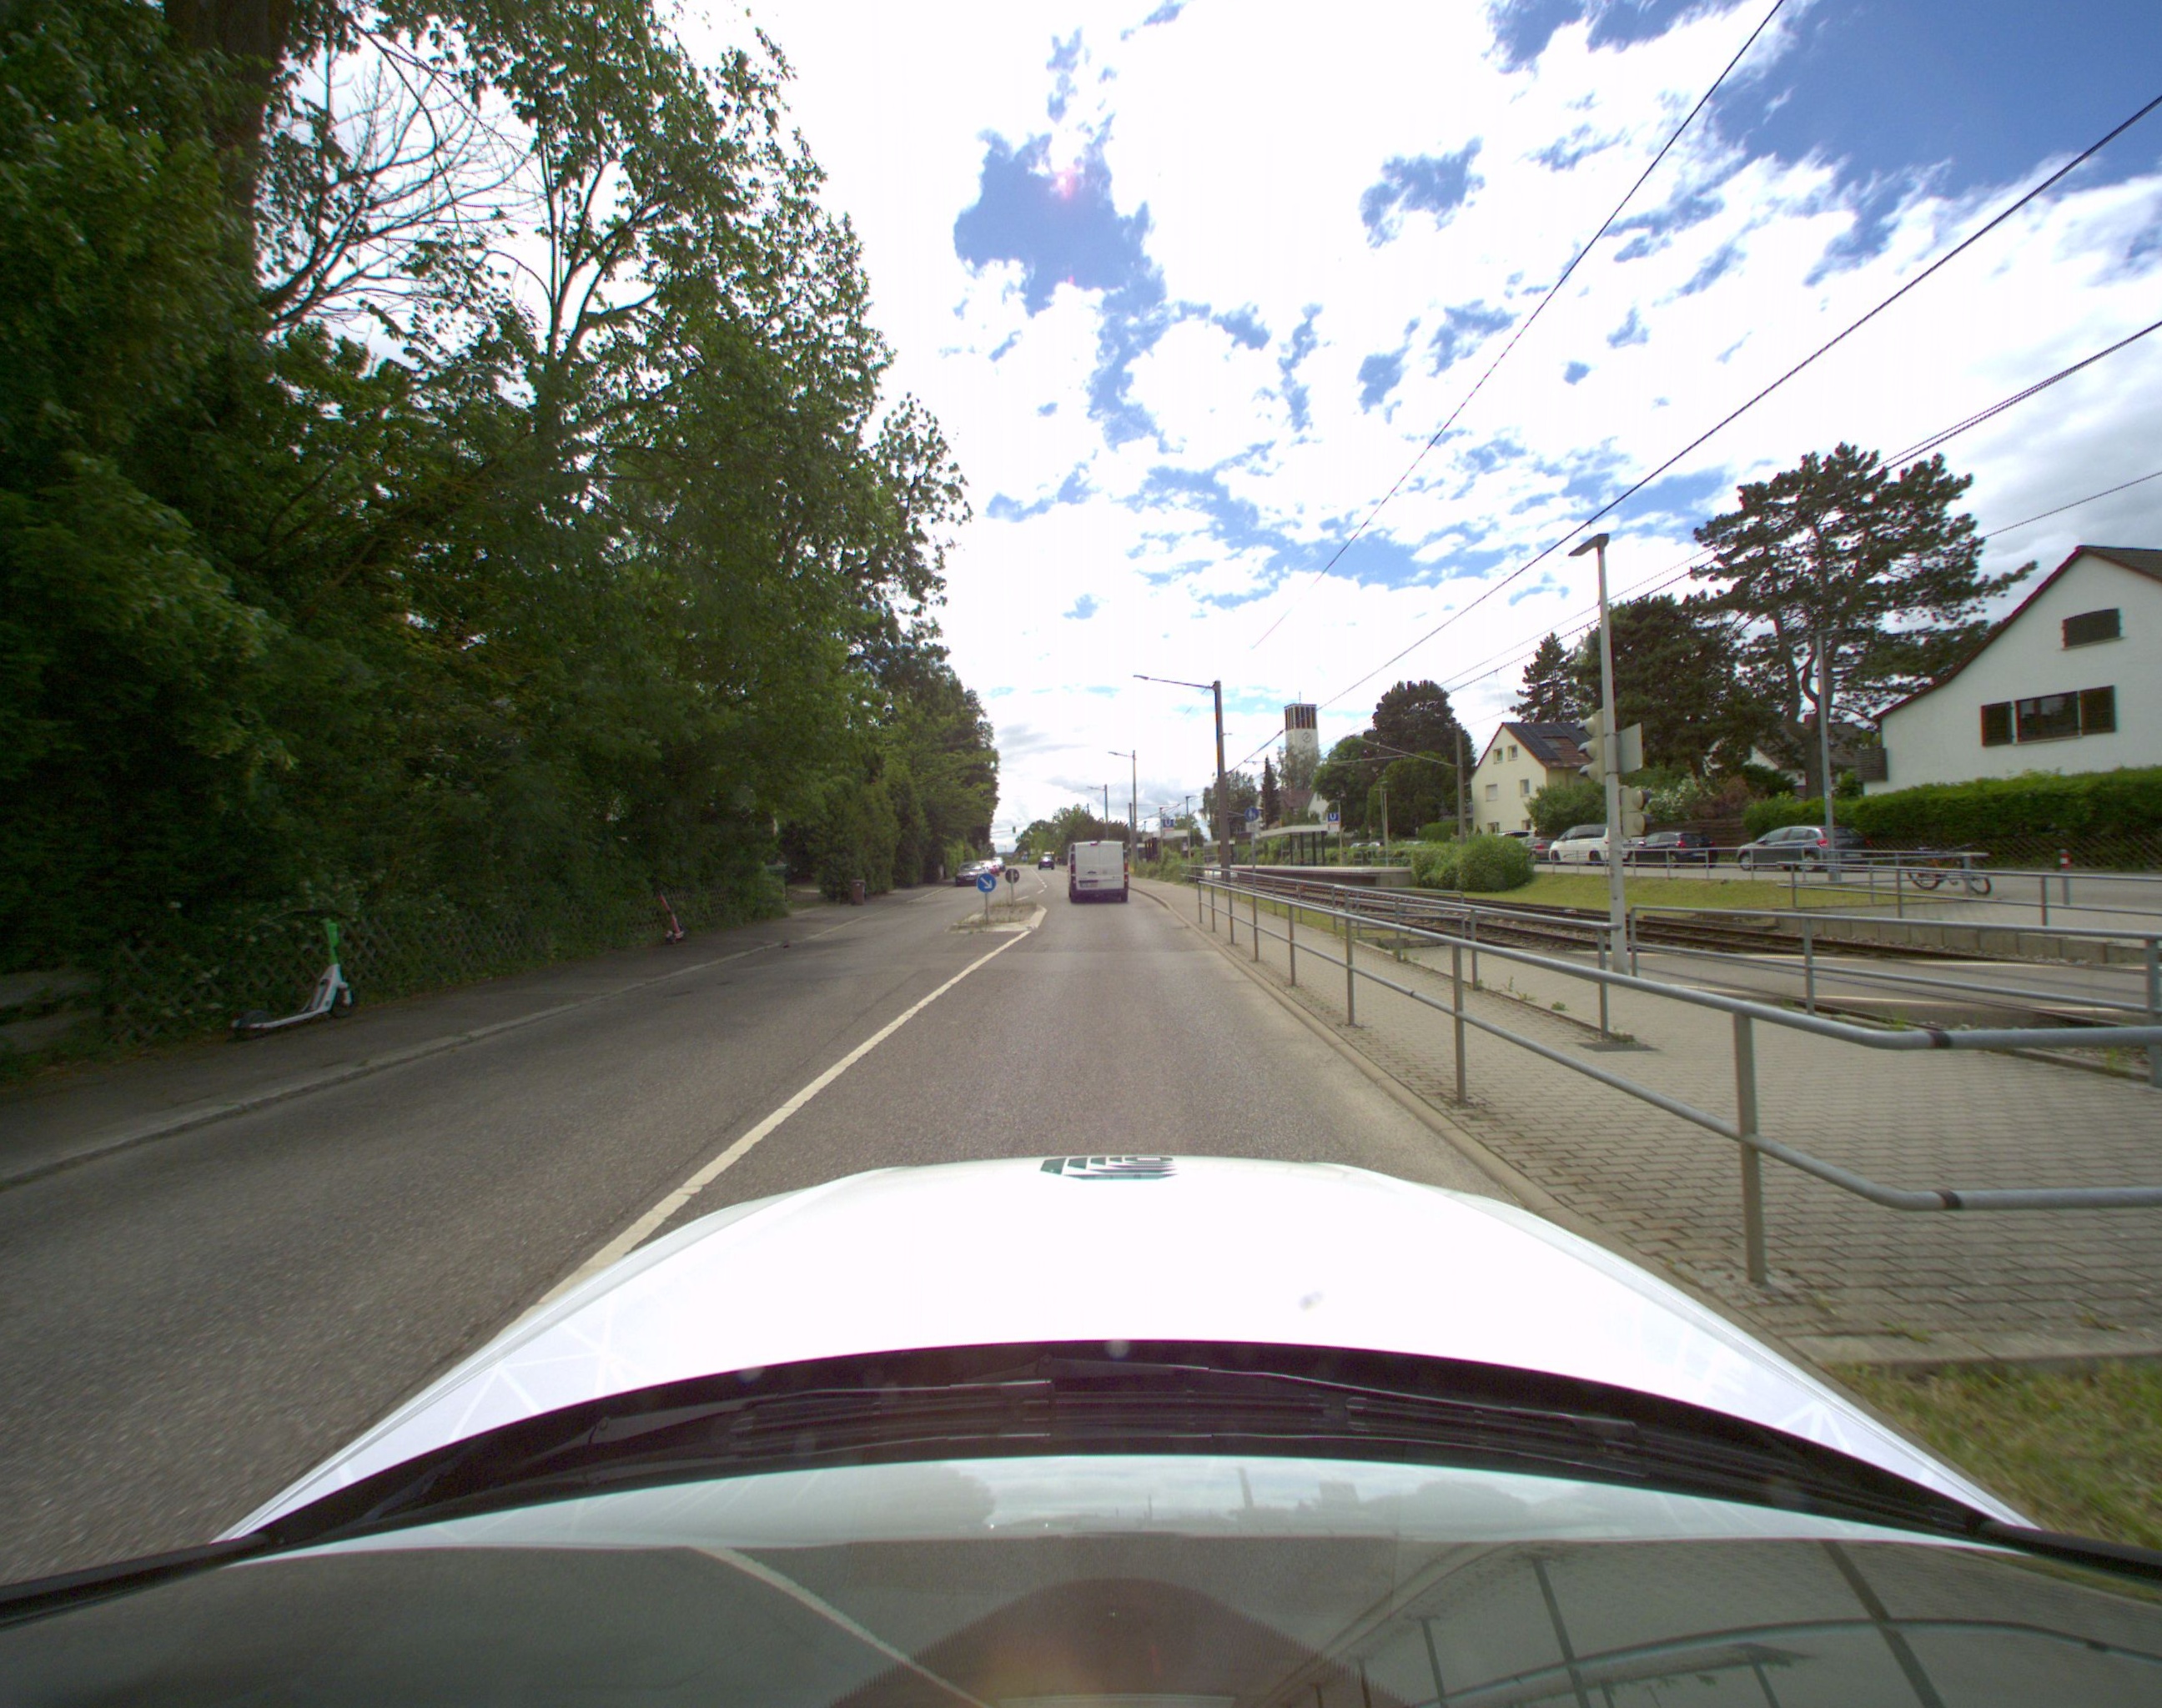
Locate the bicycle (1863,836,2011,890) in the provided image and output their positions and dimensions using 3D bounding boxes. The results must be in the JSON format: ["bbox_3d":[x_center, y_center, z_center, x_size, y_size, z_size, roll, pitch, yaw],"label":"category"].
[{"bbox_3d":[18.167,0.180,17.391,0.536,1.045,2.541,-2,0,2],"label":"bicycle"}]

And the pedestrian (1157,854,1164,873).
[{"bbox_3d":[5.677,0.673,58.354,0.395,1.344,0.486,-1,0,-9],"label":"pedestrian"}]

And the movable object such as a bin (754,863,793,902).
[{"bbox_3d":[-11.627,1.077,30.815,1.276,1.401,0.893,-2,-1,-17],"label":"movable object such as a bin"}]

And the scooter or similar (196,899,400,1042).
[{"bbox_3d":[-7.794,1.105,8.214,0.407,1.199,1.640,-2,0,2],"label":"scooter or similar"}]

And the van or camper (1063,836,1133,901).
[{"bbox_3d":[0.473,0.477,27.516,1.990,2.014,4.439,0,-1,-4],"label":"van or camper"}]

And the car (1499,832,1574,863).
[{"bbox_3d":[24.322,-0.341,43.643,1.876,1.522,4.002,-2,0,2],"label":"car"}]

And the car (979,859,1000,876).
[{"bbox_3d":[-8.383,1.200,74.516,1.759,1.471,4.177,-3,0,-6],"label":"car"}]

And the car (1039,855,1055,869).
[{"bbox_3d":[-4.225,1.044,102.103,1.847,1.648,3.731,-2,0,-2],"label":"car"}]

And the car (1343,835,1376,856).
[{"bbox_3d":[24.893,-0.752,72.955,1.725,1.751,3.937,-1,0,2],"label":"car"}]

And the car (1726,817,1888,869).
[{"bbox_3d":[23.862,-0.334,26.996,1.876,1.522,4.002,-2,0,2],"label":"car"}]

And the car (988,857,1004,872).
[{"bbox_3d":[-10.014,1.189,96.032,1.759,1.625,4.177,-3,0,-6],"label":"car"}]

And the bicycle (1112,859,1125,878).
[{"bbox_3d":[2.586,0.970,56.693,0.617,1.246,2.392,-1,0,-5],"label":"bicycle"}]

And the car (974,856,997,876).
[{"bbox_3d":[-7.888,0.998,67.179,1.585,1.505,3.510,-3,0,-3],"label":"car"}]

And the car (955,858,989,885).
[{"bbox_3d":[-6.589,1.030,49.516,1.734,1.505,4.469,-3,0,-5],"label":"car"}]

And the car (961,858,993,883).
[{"bbox_3d":[-6.999,1.067,54.991,1.733,1.505,3.958,-3,0,-3],"label":"car"}]

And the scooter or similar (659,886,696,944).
[{"bbox_3d":[-8.132,1.205,16.454,0.478,1.081,1.207,0,0,-18],"label":"scooter or similar"}]

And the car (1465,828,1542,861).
[{"bbox_3d":[29.072,-0.631,56.077,4.321,1.943,1.743,-4,0,-5],"label":"car"}]

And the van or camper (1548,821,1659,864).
[{"bbox_3d":[24.030,-0.494,37.741,1.899,1.826,5.047,-2,0,0],"label":"van or camper"}]

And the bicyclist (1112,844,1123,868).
[{"bbox_3d":[2.553,0.109,56.610,0.638,1.650,0.817,-1,0,-5],"label":"bicyclist"}]

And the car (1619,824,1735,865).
[{"bbox_3d":[24.017,-0.360,33.016,1.876,1.522,4.002,-2,0,2],"label":"car"}]
